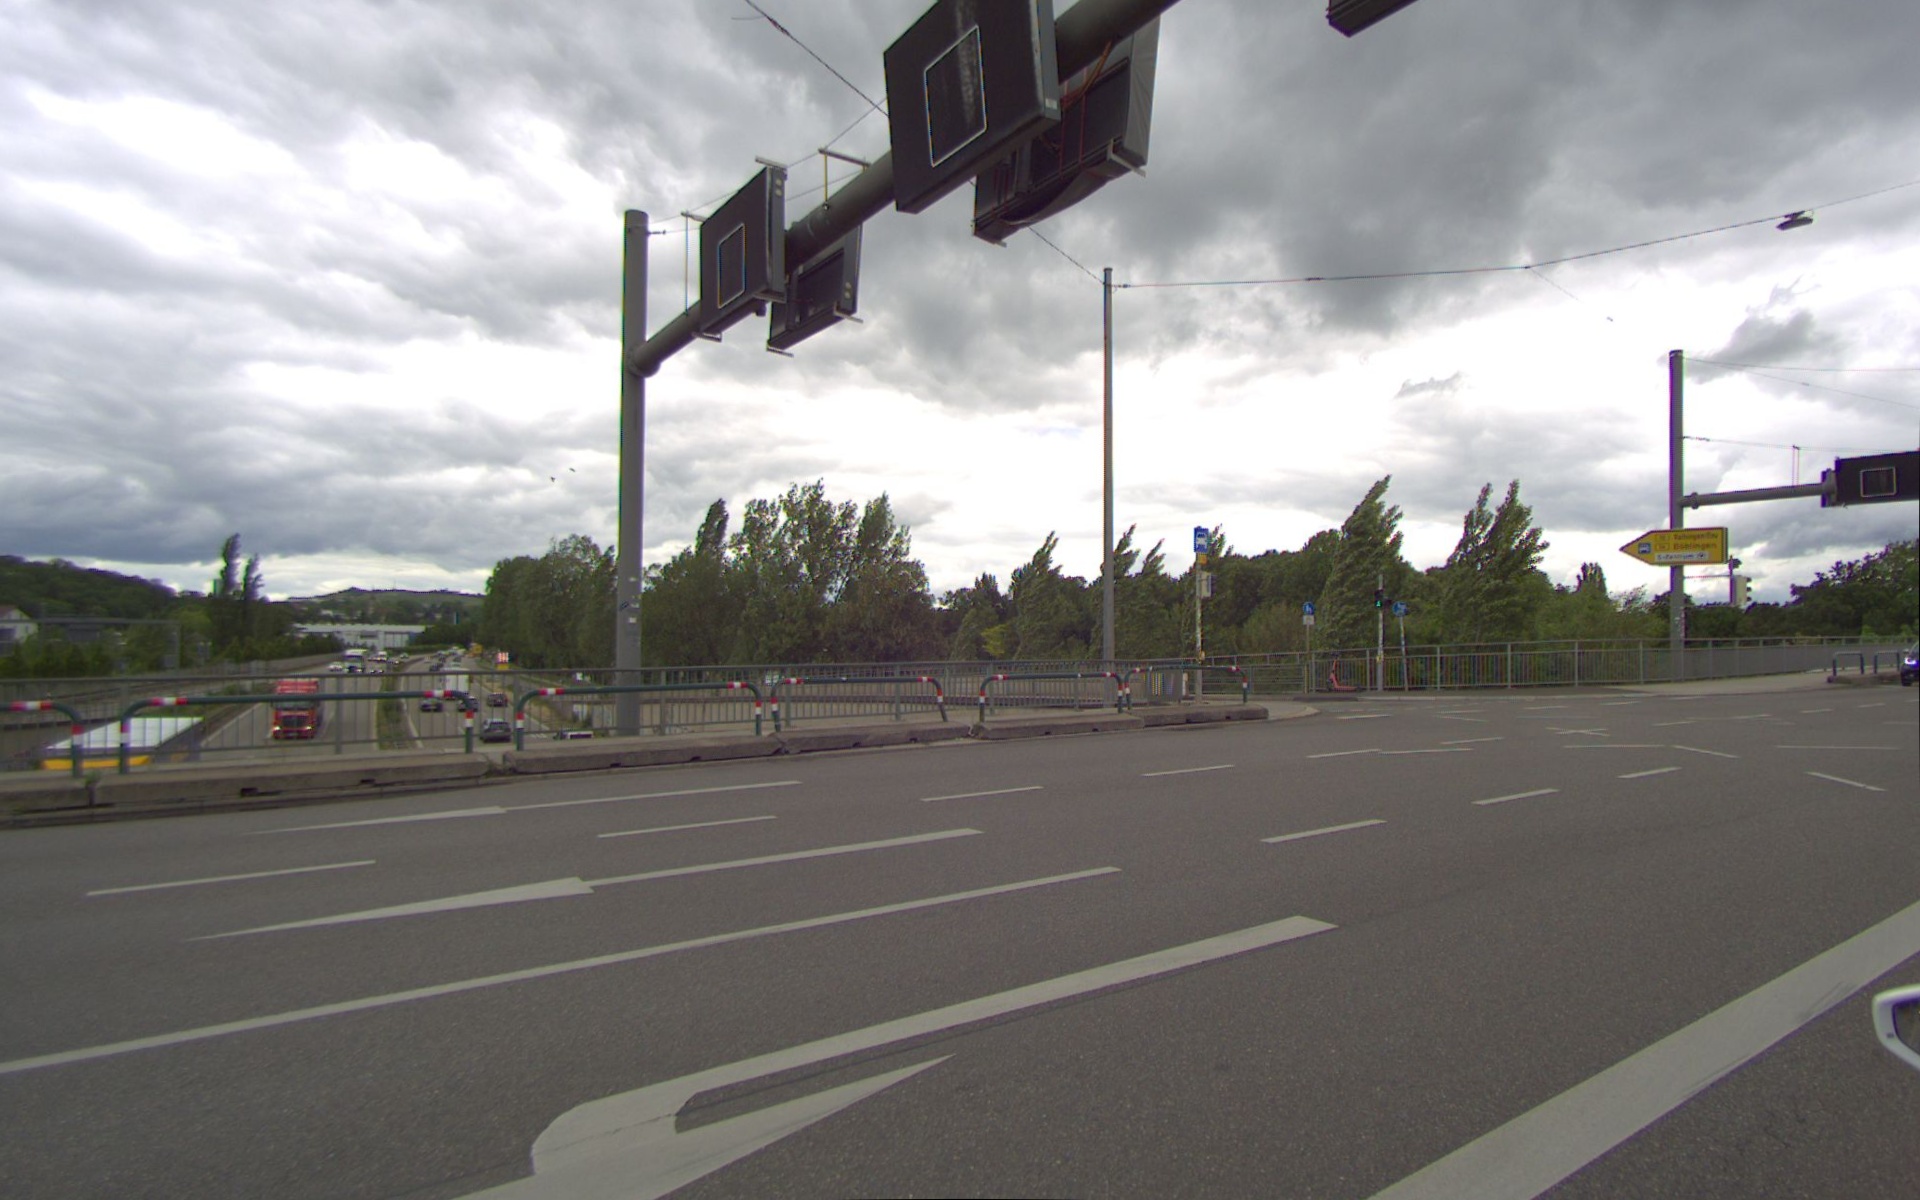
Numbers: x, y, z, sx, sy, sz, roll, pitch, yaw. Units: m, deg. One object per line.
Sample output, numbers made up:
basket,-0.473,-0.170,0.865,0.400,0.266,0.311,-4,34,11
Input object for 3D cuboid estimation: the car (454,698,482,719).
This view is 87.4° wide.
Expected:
car,-48.754,10.734,99.504,2.115,1.739,4.389,3,-3,-31

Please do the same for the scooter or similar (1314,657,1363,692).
scooter or similar,11.853,2.341,31.469,0.481,1.070,1.320,1,-4,-42

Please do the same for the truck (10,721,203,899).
truck,-27.791,6.511,33.307,2.869,4.238,9.946,4,-4,-30

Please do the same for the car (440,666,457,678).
car,-95.034,13.431,186.584,2.568,2.040,4.607,3,-3,-29

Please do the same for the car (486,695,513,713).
car,-49.189,11.042,107.150,2.115,1.586,4.389,3,-3,-31

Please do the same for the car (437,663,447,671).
car,-113.310,14.666,219.692,1.976,1.739,3.614,4,-5,-28

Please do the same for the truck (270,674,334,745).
truck,-49.741,8.072,76.243,2.855,4.413,13.161,2,-3,-28

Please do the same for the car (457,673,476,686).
car,-75.339,12.154,153.365,2.115,1.739,4.389,3,-3,-31

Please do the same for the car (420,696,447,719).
car,-51.404,10.479,98.053,2.308,1.739,4.697,-1,-1,-28

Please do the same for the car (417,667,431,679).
car,-98.363,13.392,184.233,2.199,2.040,4.607,2,-4,-29

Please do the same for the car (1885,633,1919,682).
car,31.415,1.813,32.111,3.830,1.524,1.825,1,-3,-33

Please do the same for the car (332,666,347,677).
car,-114.186,13.128,184.880,1.975,2.039,3.974,0,-4,-27

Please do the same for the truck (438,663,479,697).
truck,-57.569,9.161,115.143,3.554,3.501,8.175,4,-4,-30

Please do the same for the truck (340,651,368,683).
truck,-103.604,11.408,171.893,3.337,5.019,13.837,1,-2,-28

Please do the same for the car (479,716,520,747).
car,-32.439,9.187,70.711,2.115,1.739,4.389,3,-3,-31

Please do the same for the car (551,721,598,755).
car,-24.887,8.868,64.748,2.115,1.739,4.389,3,-3,-31

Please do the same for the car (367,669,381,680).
car,-101.249,12.847,173.576,1.890,1.739,3.614,4,-5,-28
